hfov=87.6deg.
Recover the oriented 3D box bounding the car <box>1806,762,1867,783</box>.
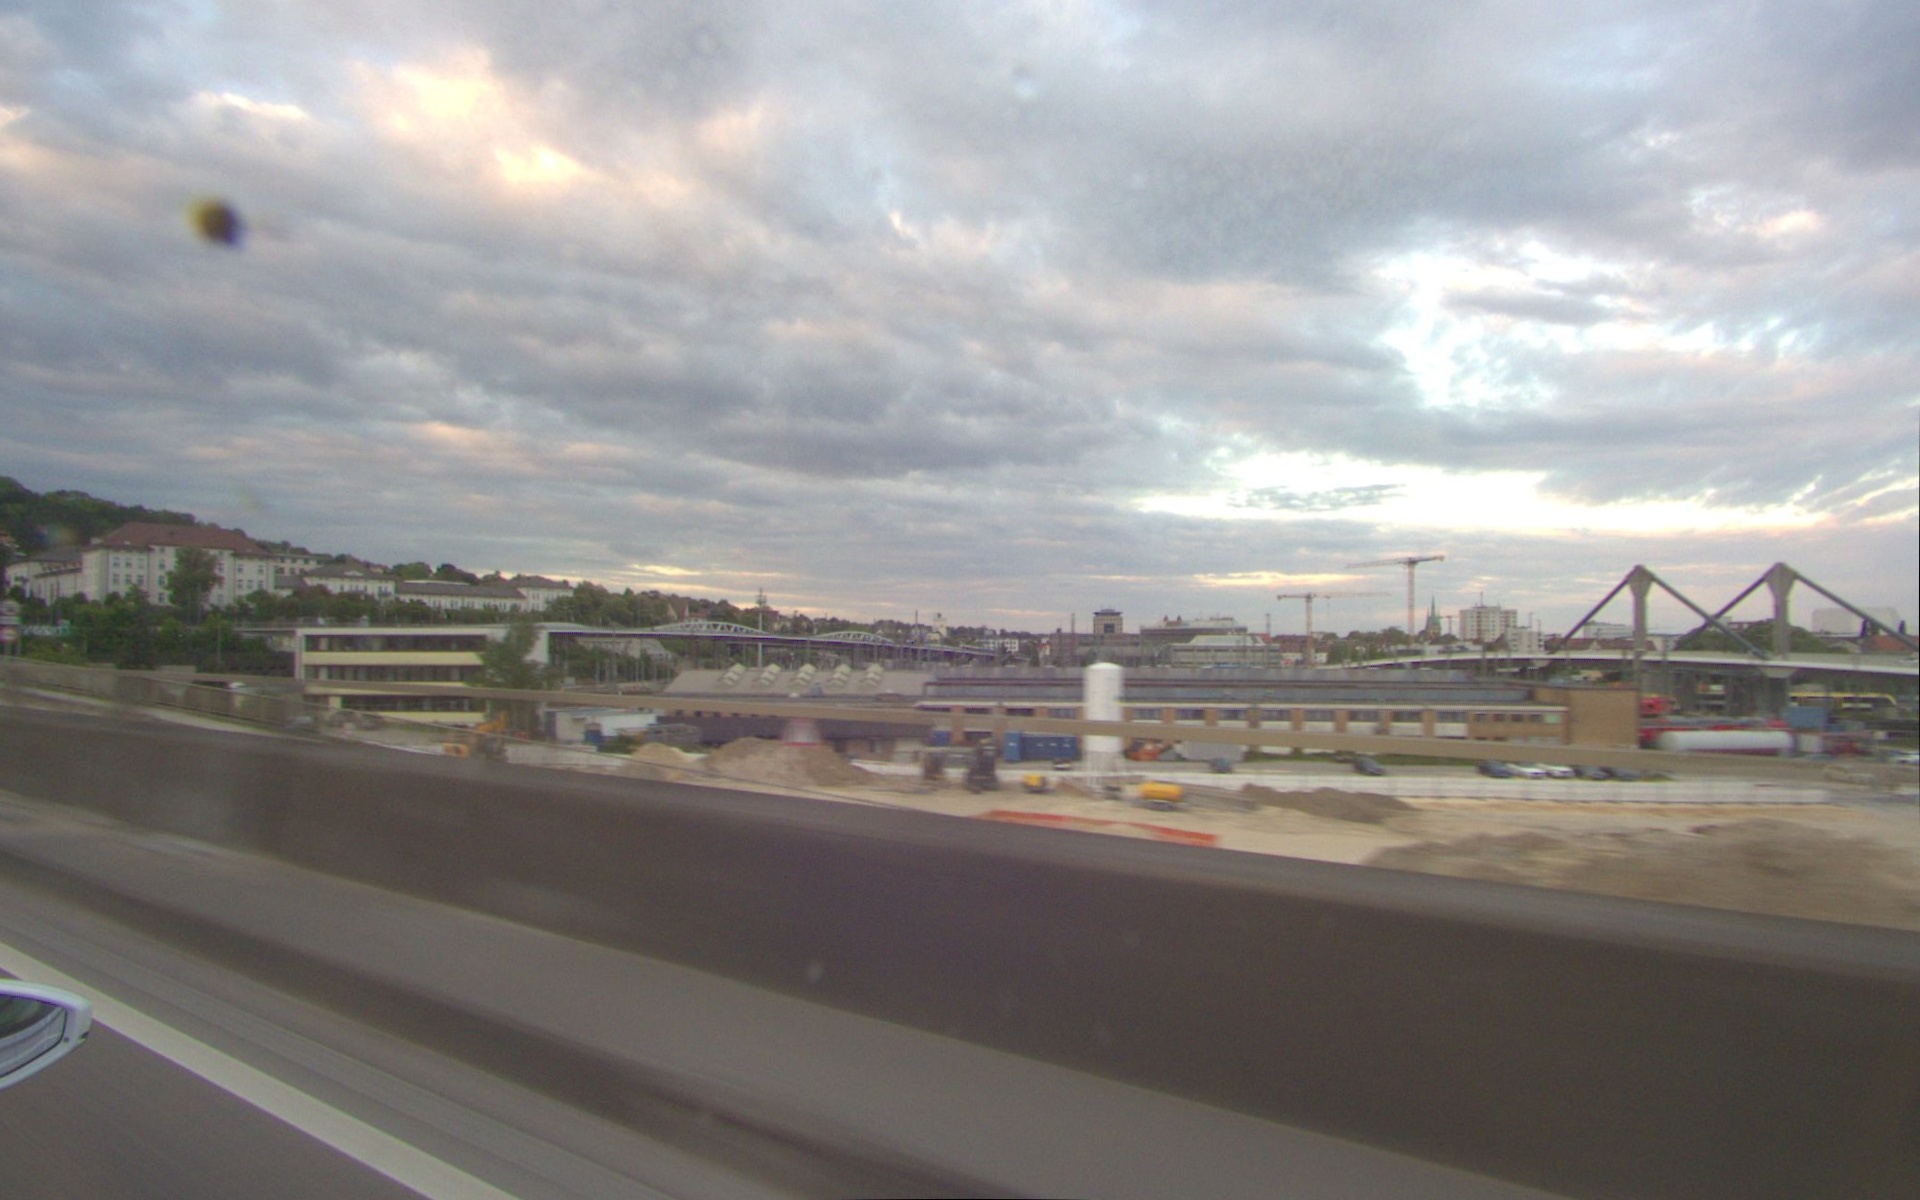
[{"bbox_3d":[84.172,16.579,96.224,1.835,1.539,4.348,1,-4,-4],"label":"car"}]

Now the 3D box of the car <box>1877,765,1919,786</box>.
[{"bbox_3d":[89.161,16.524,94.042,1.835,1.539,4.348,1,-4,-4],"label":"car"}]

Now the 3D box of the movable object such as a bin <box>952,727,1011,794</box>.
[{"bbox_3d":[1.619,11.442,71.702,2.734,4.356,4.962,2,-7,17],"label":"movable object such as a bin"}]

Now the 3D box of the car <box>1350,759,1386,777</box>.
[{"bbox_3d":[39.408,16.206,96.697,1.835,1.435,4.009,4,-7,1],"label":"car"}]

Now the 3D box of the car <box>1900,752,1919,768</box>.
[{"bbox_3d":[103.552,17.279,107.803,3.617,1.593,1.441,5,-7,-9],"label":"car"}]

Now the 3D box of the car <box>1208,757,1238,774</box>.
[{"bbox_3d":[25.579,16.122,97.637,1.835,1.435,4.009,4,-7,1],"label":"car"}]

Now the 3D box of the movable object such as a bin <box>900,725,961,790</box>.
[{"bbox_3d":[-2.084,11.438,72.953,2.734,4.356,4.962,2,-7,17],"label":"movable object such as a bin"}]

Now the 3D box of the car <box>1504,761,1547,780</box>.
[{"bbox_3d":[54.111,16.297,95.918,1.835,1.435,4.009,4,-7,1],"label":"car"}]

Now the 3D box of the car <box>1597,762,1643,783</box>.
[{"bbox_3d":[62.501,16.300,94.896,1.835,1.669,4.009,4,-7,1],"label":"car"}]

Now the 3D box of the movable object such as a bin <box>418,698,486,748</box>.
[{"bbox_3d":[-48.365,11.758,95.334,4.869,4.357,2.786,1,-7,20],"label":"movable object such as a bin"}]

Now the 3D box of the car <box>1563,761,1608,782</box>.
[{"bbox_3d":[59.594,16.315,95.472,1.835,1.669,4.009,4,-7,1],"label":"car"}]

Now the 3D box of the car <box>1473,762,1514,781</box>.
[{"bbox_3d":[51.266,16.481,96.264,1.835,1.435,4.009,4,-7,1],"label":"car"}]

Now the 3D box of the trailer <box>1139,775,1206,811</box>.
[{"bbox_3d":[13.592,12.351,64.144,3.781,1.823,1.998,1,-7,26],"label":"trailer"}]

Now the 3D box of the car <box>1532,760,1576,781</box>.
[{"bbox_3d":[56.902,16.325,95.960,1.835,1.733,4.009,4,-7,1],"label":"car"}]
